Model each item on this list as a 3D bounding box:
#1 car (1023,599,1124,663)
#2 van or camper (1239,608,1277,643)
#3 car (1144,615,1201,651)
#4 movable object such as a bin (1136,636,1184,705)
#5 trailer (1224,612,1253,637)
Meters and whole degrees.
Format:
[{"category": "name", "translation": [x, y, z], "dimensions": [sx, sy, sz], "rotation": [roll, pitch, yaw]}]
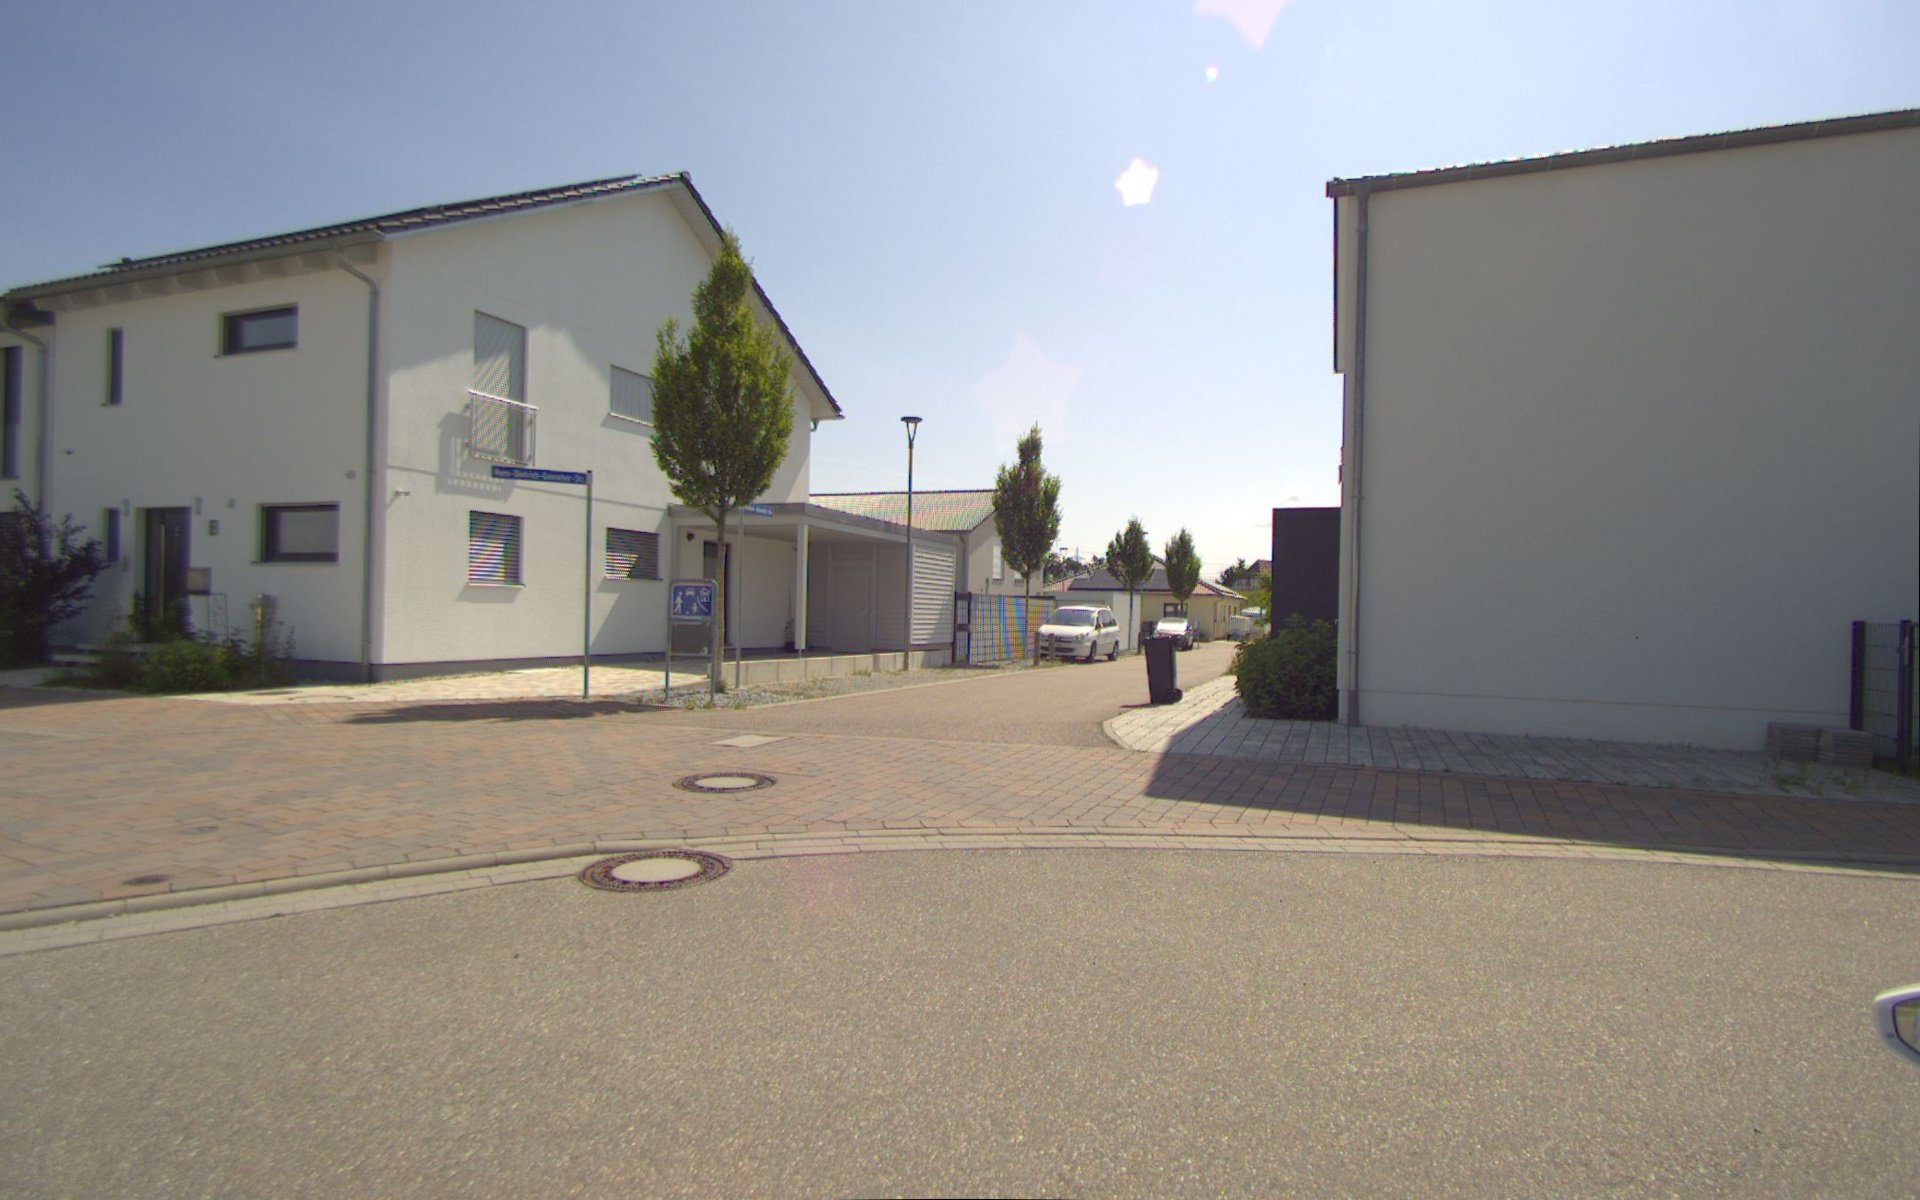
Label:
[{"category": "car", "translation": [3.729, 0.994, 32.189], "dimensions": [1.961, 1.813, 4.646], "rotation": [3, -1, 22]}, {"category": "van or camper", "translation": [22.687, 1.970, 76.439], "dimensions": [2.227, 2.442, 4.844], "rotation": [3, -1, 22]}, {"category": "car", "translation": [10.719, 1.655, 50.369], "dimensions": [1.961, 1.635, 4.483], "rotation": [3, -1, 22]}, {"category": "movable object such as a bin", "translation": [2.868, 0.995, 14.374], "dimensions": [0.590, 0.961, 0.501], "rotation": [0, -1, 22]}, {"category": "trailer", "translation": [19.361, 1.732, 69.841], "dimensions": [1.600, 1.635, 2.561], "rotation": [3, -1, 22]}]
